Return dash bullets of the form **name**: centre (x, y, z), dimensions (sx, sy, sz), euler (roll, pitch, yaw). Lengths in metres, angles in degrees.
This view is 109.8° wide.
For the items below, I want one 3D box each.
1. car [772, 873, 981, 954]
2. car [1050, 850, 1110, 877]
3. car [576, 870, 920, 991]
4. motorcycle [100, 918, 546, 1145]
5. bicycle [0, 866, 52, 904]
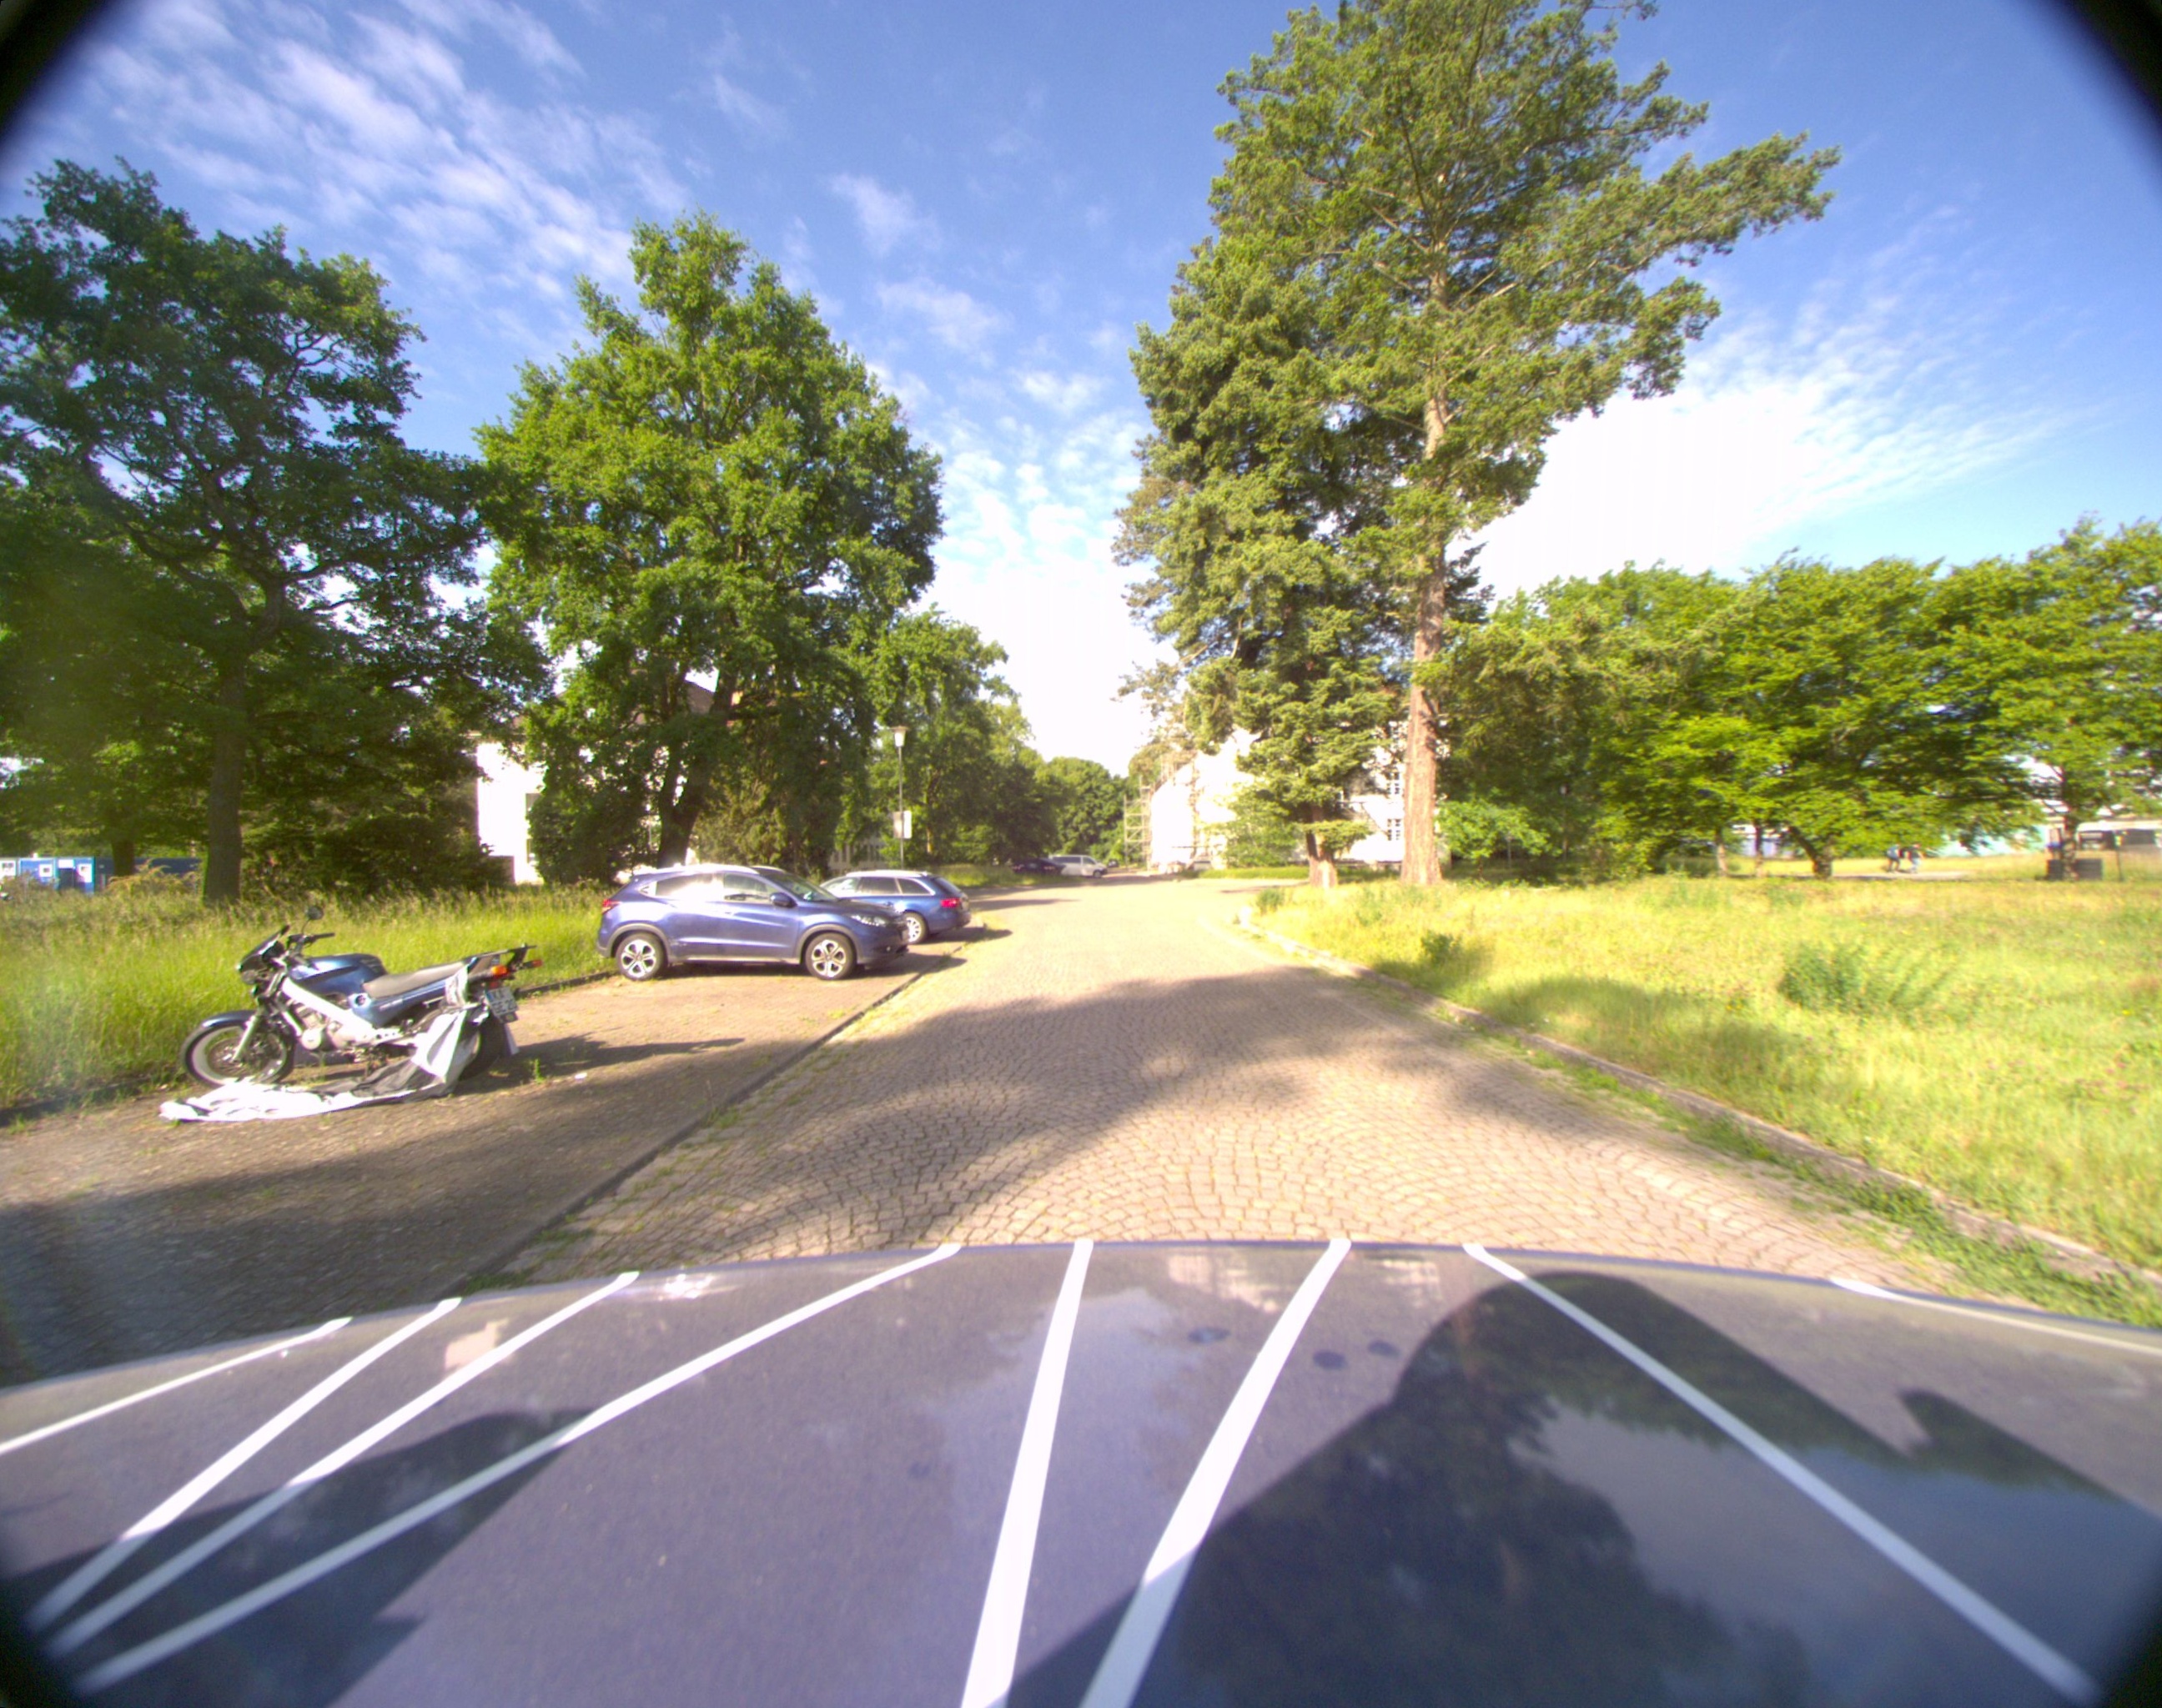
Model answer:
- **car**: centre (-4.137, 1.199, 15.780), dimensions (3.809, 1.458, 1.747), euler (-1, 0, 2)
- **car**: centre (-0.099, 0.794, 64.431), dimensions (4.994, 2.123, 2.164), euler (-1, 0, -1)
- **car**: centre (-4.654, 1.051, 11.058), dimensions (4.273, 1.589, 1.651), euler (0, 0, 0)
- **motorcycle**: centre (-5.140, 1.174, 5.270), dimensions (2.235, 1.345, 0.879), euler (-1, 0, 2)
- **bicycle**: centre (-59.738, 1.720, 42.161), dimensions (0.953, 2.002, 3.129), euler (-1, 2, 0)
